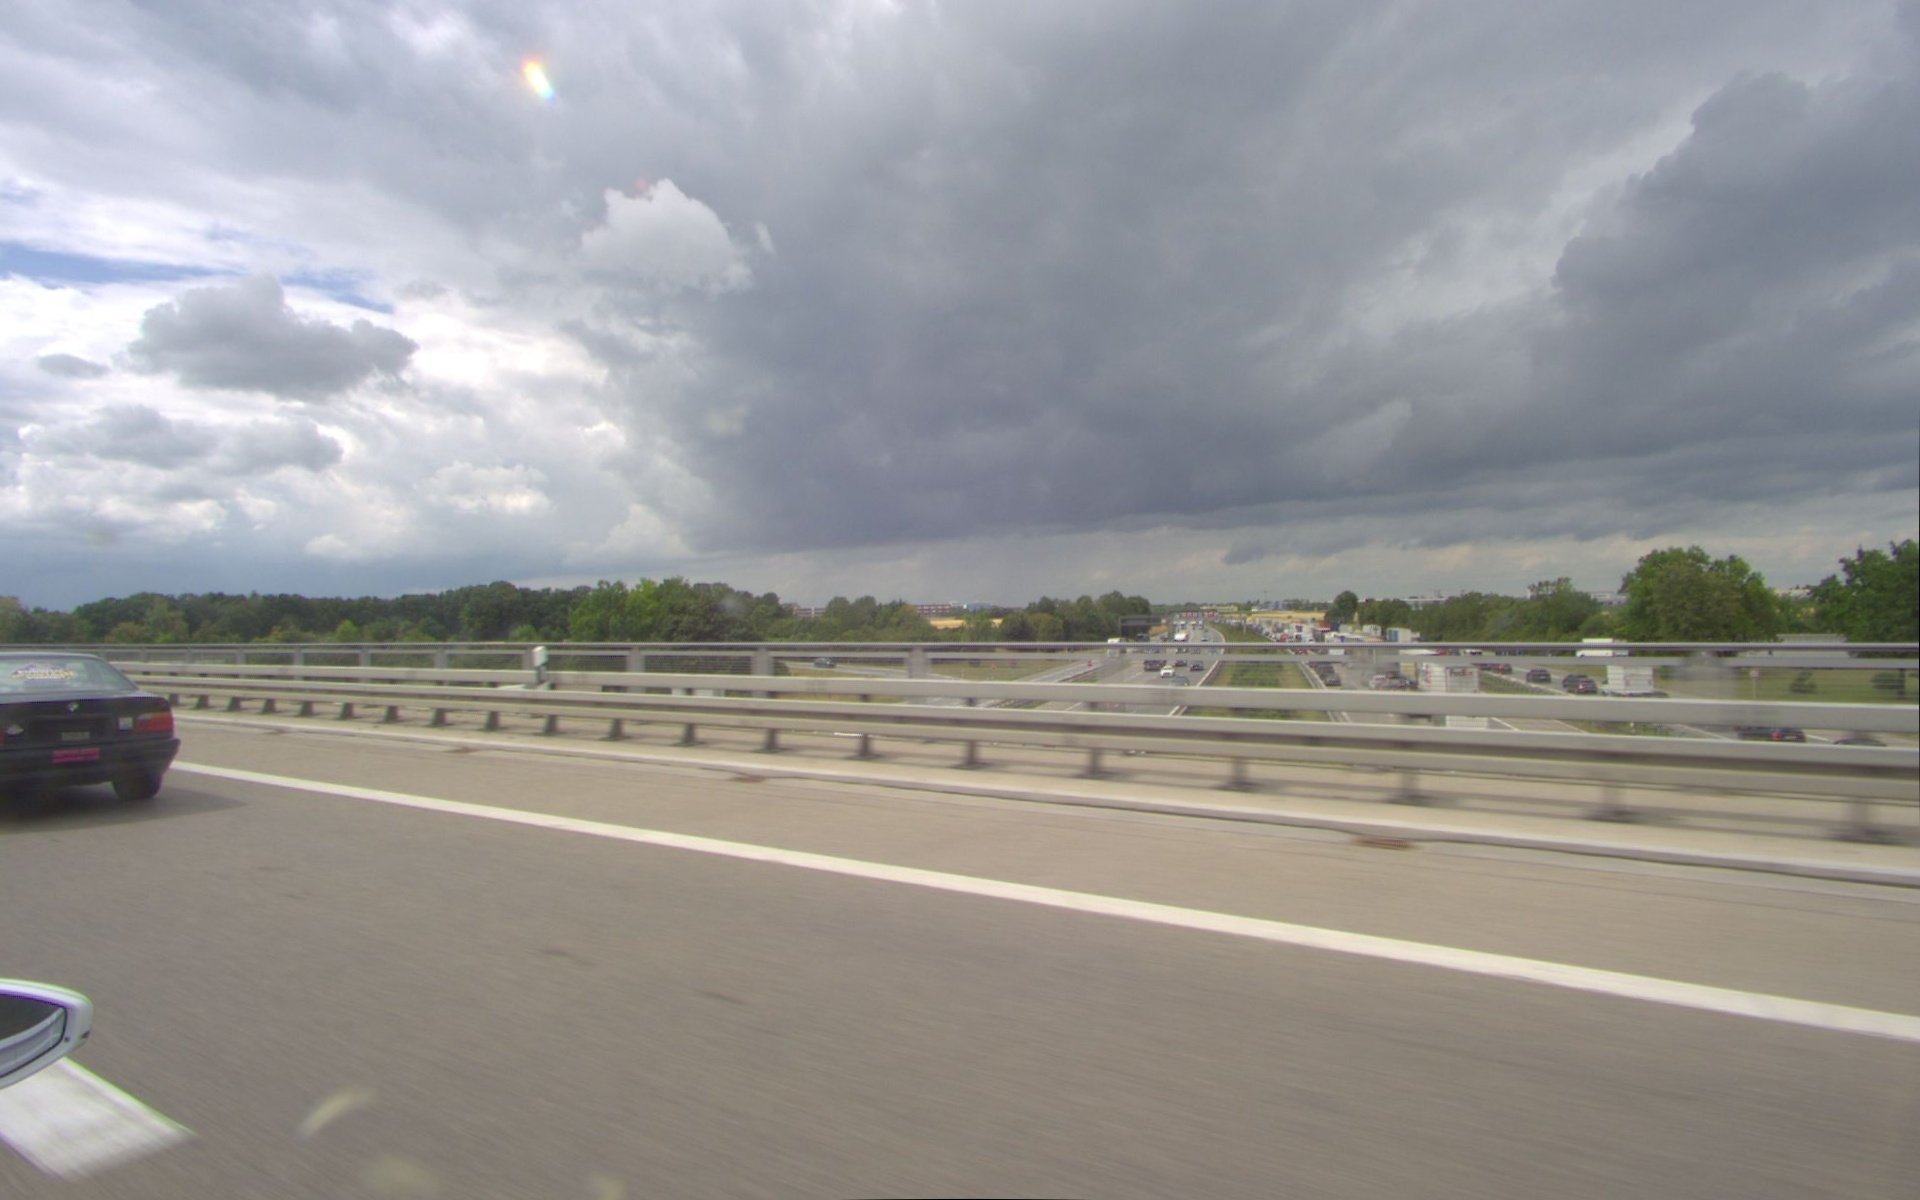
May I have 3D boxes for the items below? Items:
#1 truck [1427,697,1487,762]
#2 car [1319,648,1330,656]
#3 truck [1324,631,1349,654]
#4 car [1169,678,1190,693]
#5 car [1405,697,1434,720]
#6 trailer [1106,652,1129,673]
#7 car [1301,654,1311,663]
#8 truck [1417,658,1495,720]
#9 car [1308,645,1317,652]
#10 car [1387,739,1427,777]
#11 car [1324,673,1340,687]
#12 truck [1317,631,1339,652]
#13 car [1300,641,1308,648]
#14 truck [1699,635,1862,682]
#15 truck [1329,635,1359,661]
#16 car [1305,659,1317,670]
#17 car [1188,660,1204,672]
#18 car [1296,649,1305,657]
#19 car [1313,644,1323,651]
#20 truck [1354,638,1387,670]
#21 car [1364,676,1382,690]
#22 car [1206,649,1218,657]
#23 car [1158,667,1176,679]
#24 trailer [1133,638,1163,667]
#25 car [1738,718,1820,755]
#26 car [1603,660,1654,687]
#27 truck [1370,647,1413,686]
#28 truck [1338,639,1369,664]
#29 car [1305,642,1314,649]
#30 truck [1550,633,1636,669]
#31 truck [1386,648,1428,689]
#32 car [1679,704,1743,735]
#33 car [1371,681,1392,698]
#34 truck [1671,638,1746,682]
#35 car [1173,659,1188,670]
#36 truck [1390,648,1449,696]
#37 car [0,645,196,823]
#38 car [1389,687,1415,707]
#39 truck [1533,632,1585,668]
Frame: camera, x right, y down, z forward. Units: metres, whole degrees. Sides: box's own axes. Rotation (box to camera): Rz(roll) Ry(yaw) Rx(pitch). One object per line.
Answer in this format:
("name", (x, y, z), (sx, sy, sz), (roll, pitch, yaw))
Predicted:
("truck", (30.391, 7.811, 61.478), (2.192, 3.237, 7.558), (0, -2, 18))
("car", (69.370, 9.894, 190.783), (1.707, 1.505, 3.995), (-1, -2, 17))
("truck", (83.098, 9.261, 221.368), (4.012, 4.882, 15.340), (0, -2, 16))
("car", (25.724, 9.956, 117.311), (1.965, 1.638, 3.996), (-1, -3, 19))
("car", (38.163, 8.978, 83.184), (1.643, 1.576, 3.994), (-1, -1, 17))
("trailer", (34.430, 13.624, 218.981), (2.936, 4.152, 14.232), (0, -2, 17))
("car", (64.735, 10.935, 187.430), (1.707, 1.505, 3.995), (-1, -2, 17))
("truck", (43.088, 7.585, 87.511), (3.936, 4.612, 13.776), (0, -2, 17))
("car", (76.132, 10.421, 216.468), (1.707, 1.505, 3.995), (-1, -2, 17))
("car", (25.917, 9.131, 58.126), (1.643, 1.576, 3.994), (-1, -1, 17))
("car", (44.949, 9.675, 121.046), (1.707, 1.505, 3.994), (-1, -2, 18))
("truck", (89.538, 10.042, 243.998), (4.012, 4.882, 15.340), (0, -2, 16))
("car", (83.867, 10.802, 244.001), (1.707, 1.505, 3.995), (-1, -2, 17))
("truck", (97.400, 6.792, 119.483), (3.803, 5.281, 14.797), (1, -2, -27))
("truck", (74.374, 9.195, 194.304), (4.011, 4.882, 14.476), (0, -2, 16))
("car", (55.660, 10.243, 158.713), (1.707, 1.505, 3.994), (-1, -2, 18))
("car", (36.484, 10.205, 154.701), (1.965, 1.638, 3.994), (-1, -2, 19))
("car", (70.195, 10.988, 206.443), (1.707, 1.505, 3.995), (-1, -2, 17))
("car", (74.366, 9.898, 208.164), (1.707, 1.505, 3.995), (-1, -2, 17))
("truck", (63.135, 8.171, 154.316), (3.938, 4.612, 15.283), (0, -2, 19))
("car", (48.311, 9.694, 117.113), (1.707, 1.505, 3.994), (-1, -2, 19))
("car", (50.464, 10.590, 200.760), (1.965, 1.638, 3.994), (-1, -2, 19))
("car", (29.723, 10.478, 143.760), (1.965, 1.638, 3.994), (-1, -2, 19))
("trailer", (30.821, 8.537, 163.853), (3.076, 4.341, 13.934), (-1, -2, 18))
("car", (47.903, 7.962, 58.707), (1.964, 1.631, 4.746), (-1, -2, 16))
("car", (57.076, 6.264, 85.629), (2.143, 2.039, 4.669), (0, -2, 14))
("truck", (56.852, 8.627, 132.369), (3.937, 4.612, 14.865), (0, -2, 18))
("truck", (68.369, 8.825, 174.328), (4.069, 4.082, 14.876), (0, -2, 18))
("car", (79.295, 10.216, 226.998), (1.707, 1.505, 3.995), (-1, -2, 17))
("truck", (92.817, 7.350, 147.256), (3.875, 5.104, 13.005), (0, -2, -4))
("truck", (53.238, 8.083, 119.419), (3.862, 4.568, 6.286), (-1, -2, 18))
("car", (50.178, 7.981, 67.003), (1.964, 1.631, 4.462), (-1, -2, 16))
("car", (43.764, 9.237, 104.008), (1.707, 1.505, 3.994), (-1, -2, 18))
("truck", (94.105, 7.530, 125.989), (3.798, 5.380, 6.423), (0, -2, -24))
("car", (37.431, 10.887, 169.780), (1.965, 1.638, 3.994), (-1, -2, 19))
("truck", (50.347, 7.737, 110.324), (3.936, 4.612, 16.346), (0, -2, 18))
("car", (-8.877, 1.091, 9.172), (4.305, 1.297, 1.700), (-1, -2, 34))
("car", (39.861, 8.766, 90.367), (1.707, 1.505, 3.994), (-1, -2, 18))
("truck", (92.342, 7.743, 154.415), (3.784, 5.380, 6.446), (0, -2, -4))
